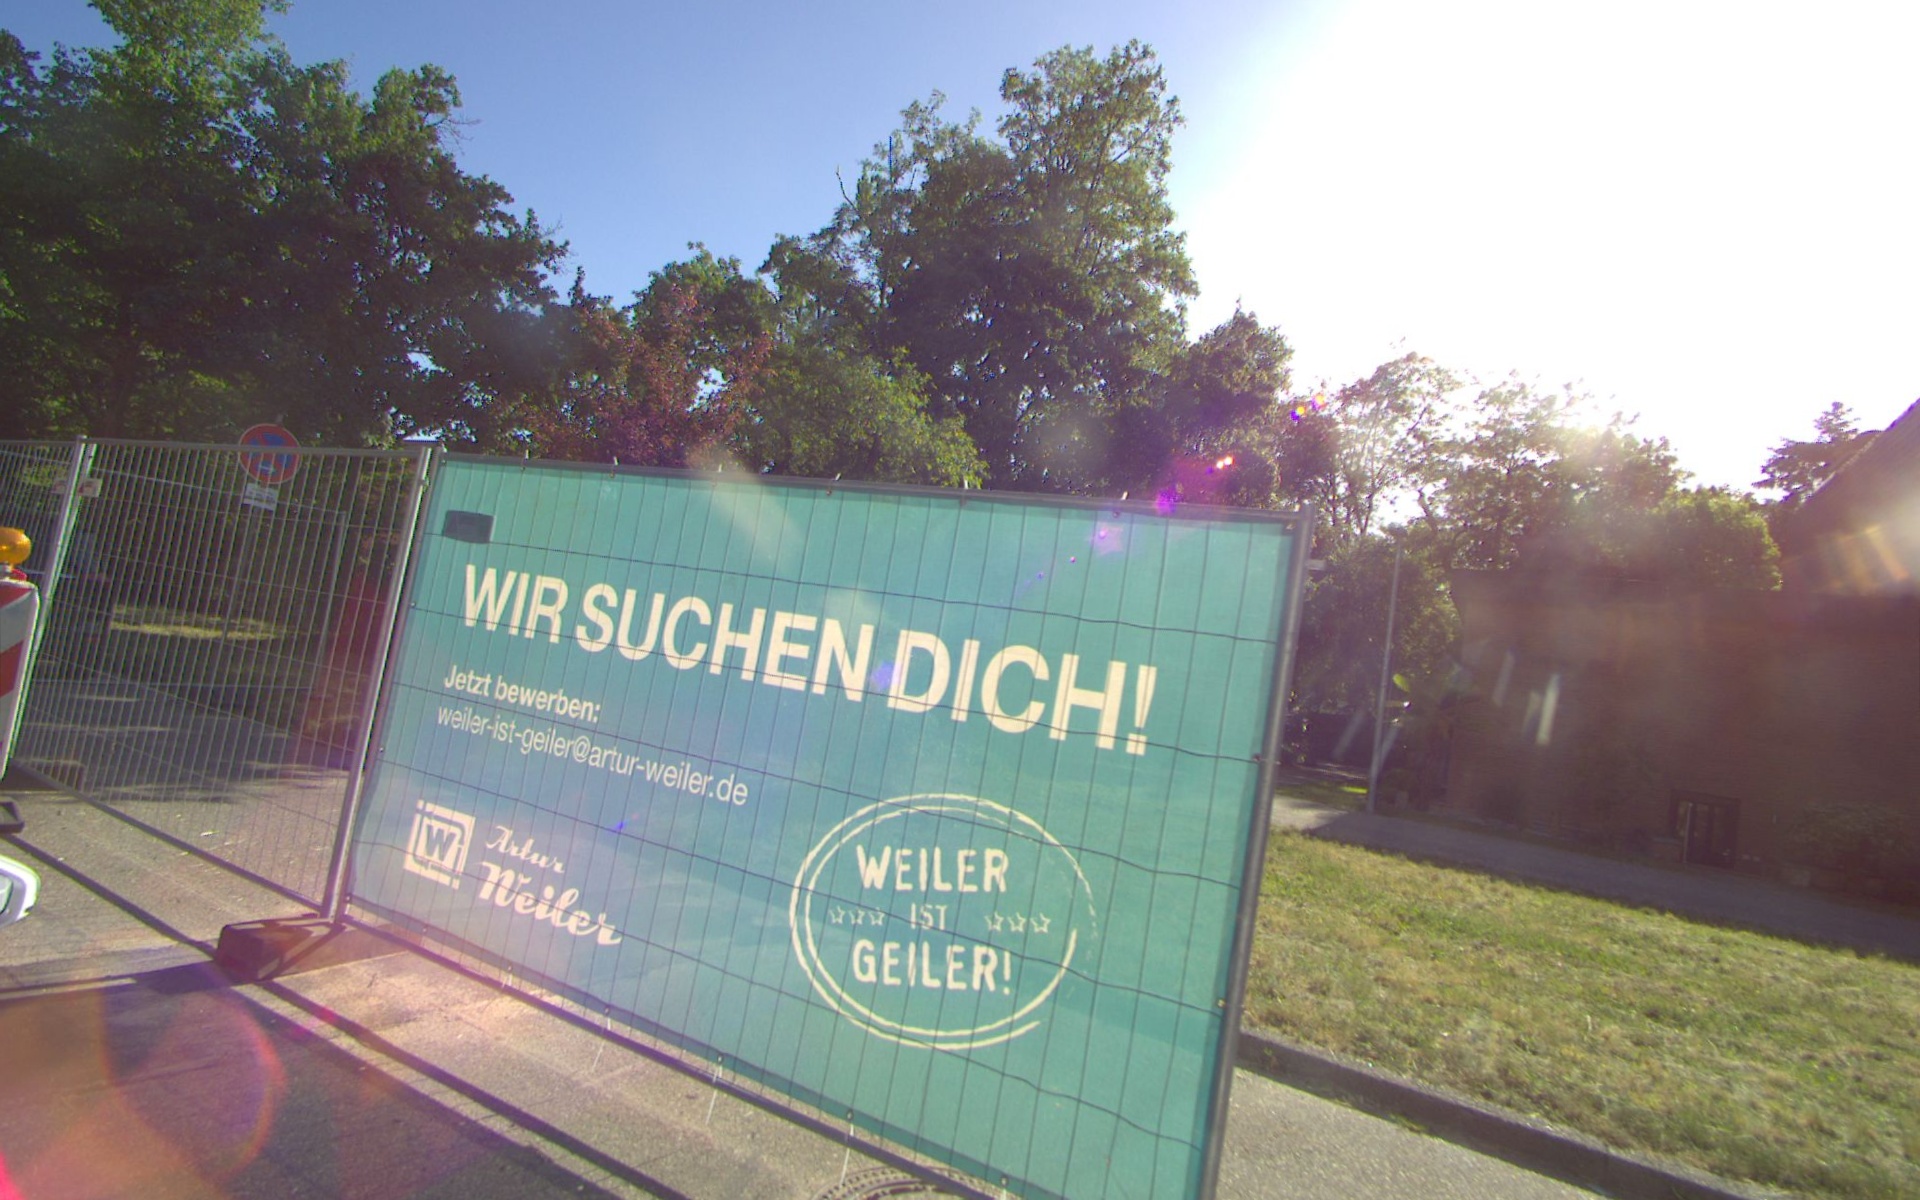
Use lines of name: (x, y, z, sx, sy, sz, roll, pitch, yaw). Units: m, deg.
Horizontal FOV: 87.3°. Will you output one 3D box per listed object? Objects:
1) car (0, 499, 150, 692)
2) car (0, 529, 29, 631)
car: (-10.536, -0.248, 10.578, 4.351, 1.667, 1.815, 6, -6, 35)
car: (-15.490, -0.587, 14.598, 4.085, 1.389, 1.668, 7, -6, 31)
